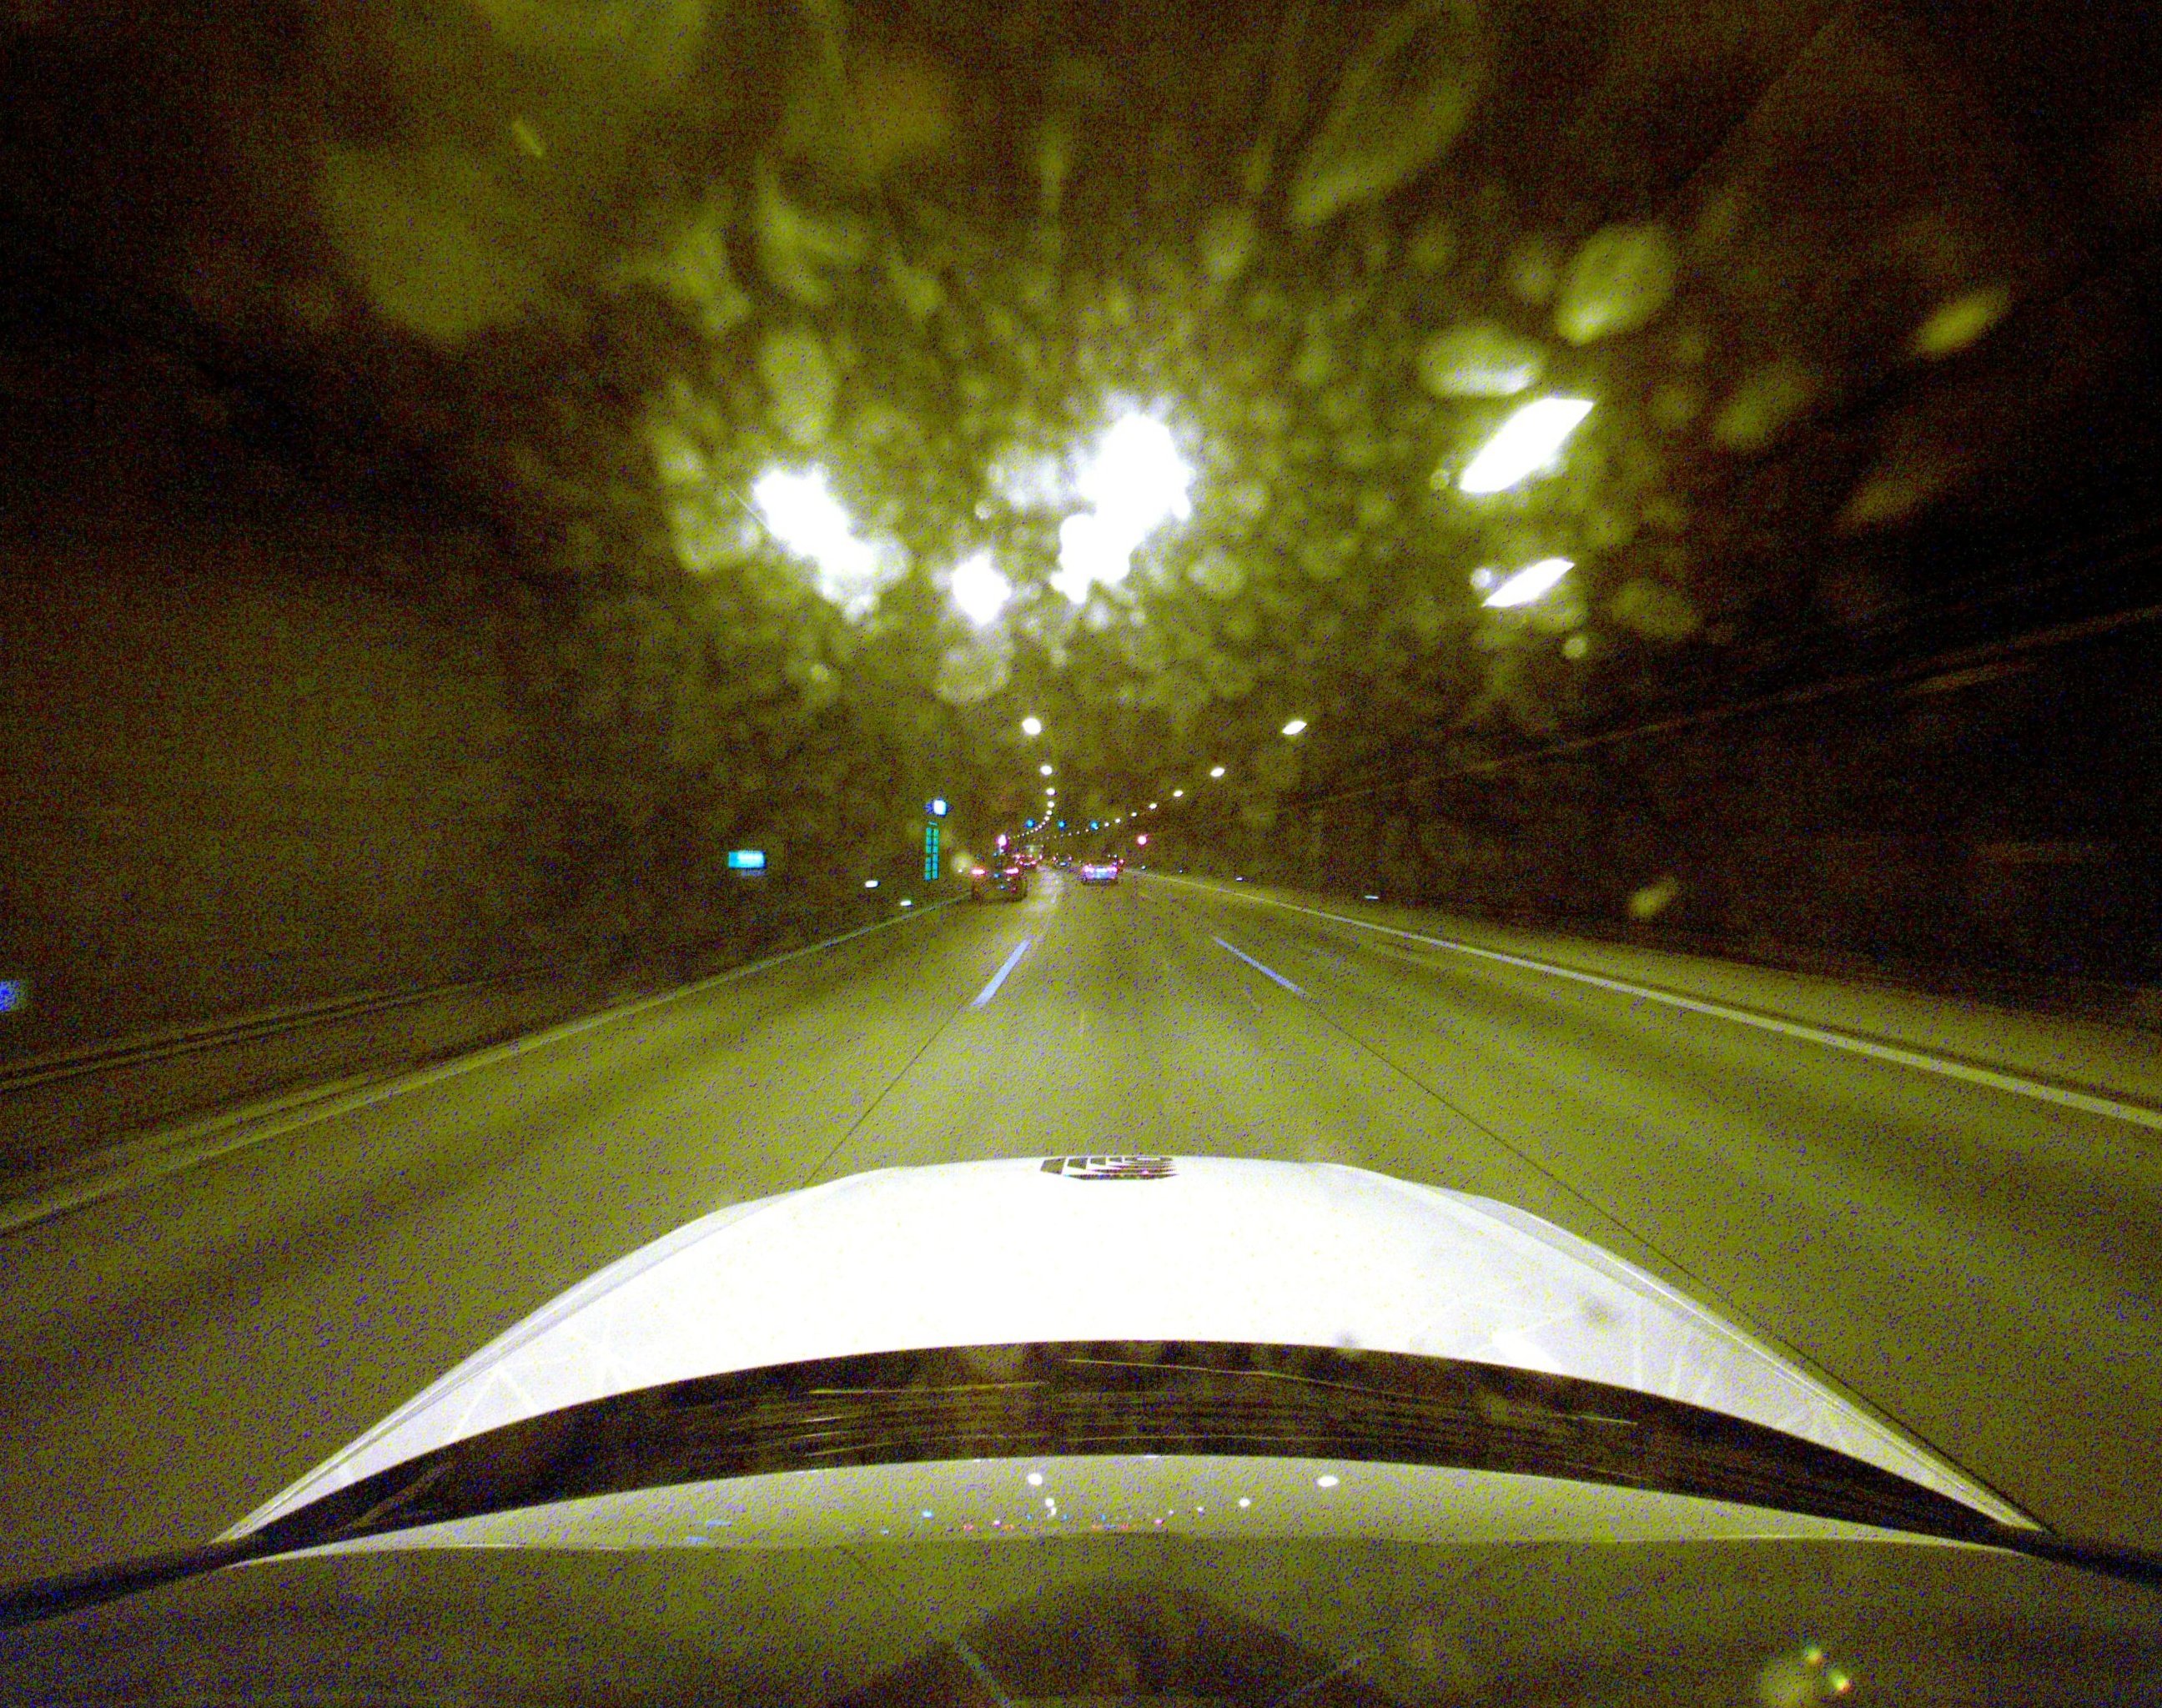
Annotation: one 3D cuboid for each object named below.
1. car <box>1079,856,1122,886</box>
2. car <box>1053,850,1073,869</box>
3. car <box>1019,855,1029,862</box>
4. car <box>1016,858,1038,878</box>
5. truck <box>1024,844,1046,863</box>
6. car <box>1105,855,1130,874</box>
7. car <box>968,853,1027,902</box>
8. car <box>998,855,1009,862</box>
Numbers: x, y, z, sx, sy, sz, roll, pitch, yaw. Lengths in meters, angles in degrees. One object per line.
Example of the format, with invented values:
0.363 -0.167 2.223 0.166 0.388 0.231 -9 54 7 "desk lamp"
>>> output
0.962 0.856 42.753 1.988 1.483 3.997 -1 0 -2 "car"
-1.953 0.559 88.790 1.990 1.972 3.994 -1 0 -4 "car"
-14.368 1.225 203.989 1.995 1.754 3.984 0 -1 -12 "car"
-4.851 1.223 73.112 1.798 1.684 3.992 -1 0 -6 "car"
-7.950 -0.143 139.300 3.079 3.113 10.006 0 1 -7 "truck"
3.156 0.883 71.216 1.835 1.602 3.997 -1 0 -2 "car"
-2.893 0.791 28.900 1.780 1.598 3.799 -1 0 -2 "car"
-16.644 0.896 174.802 1.992 1.530 3.989 0 -1 -8 "car"
